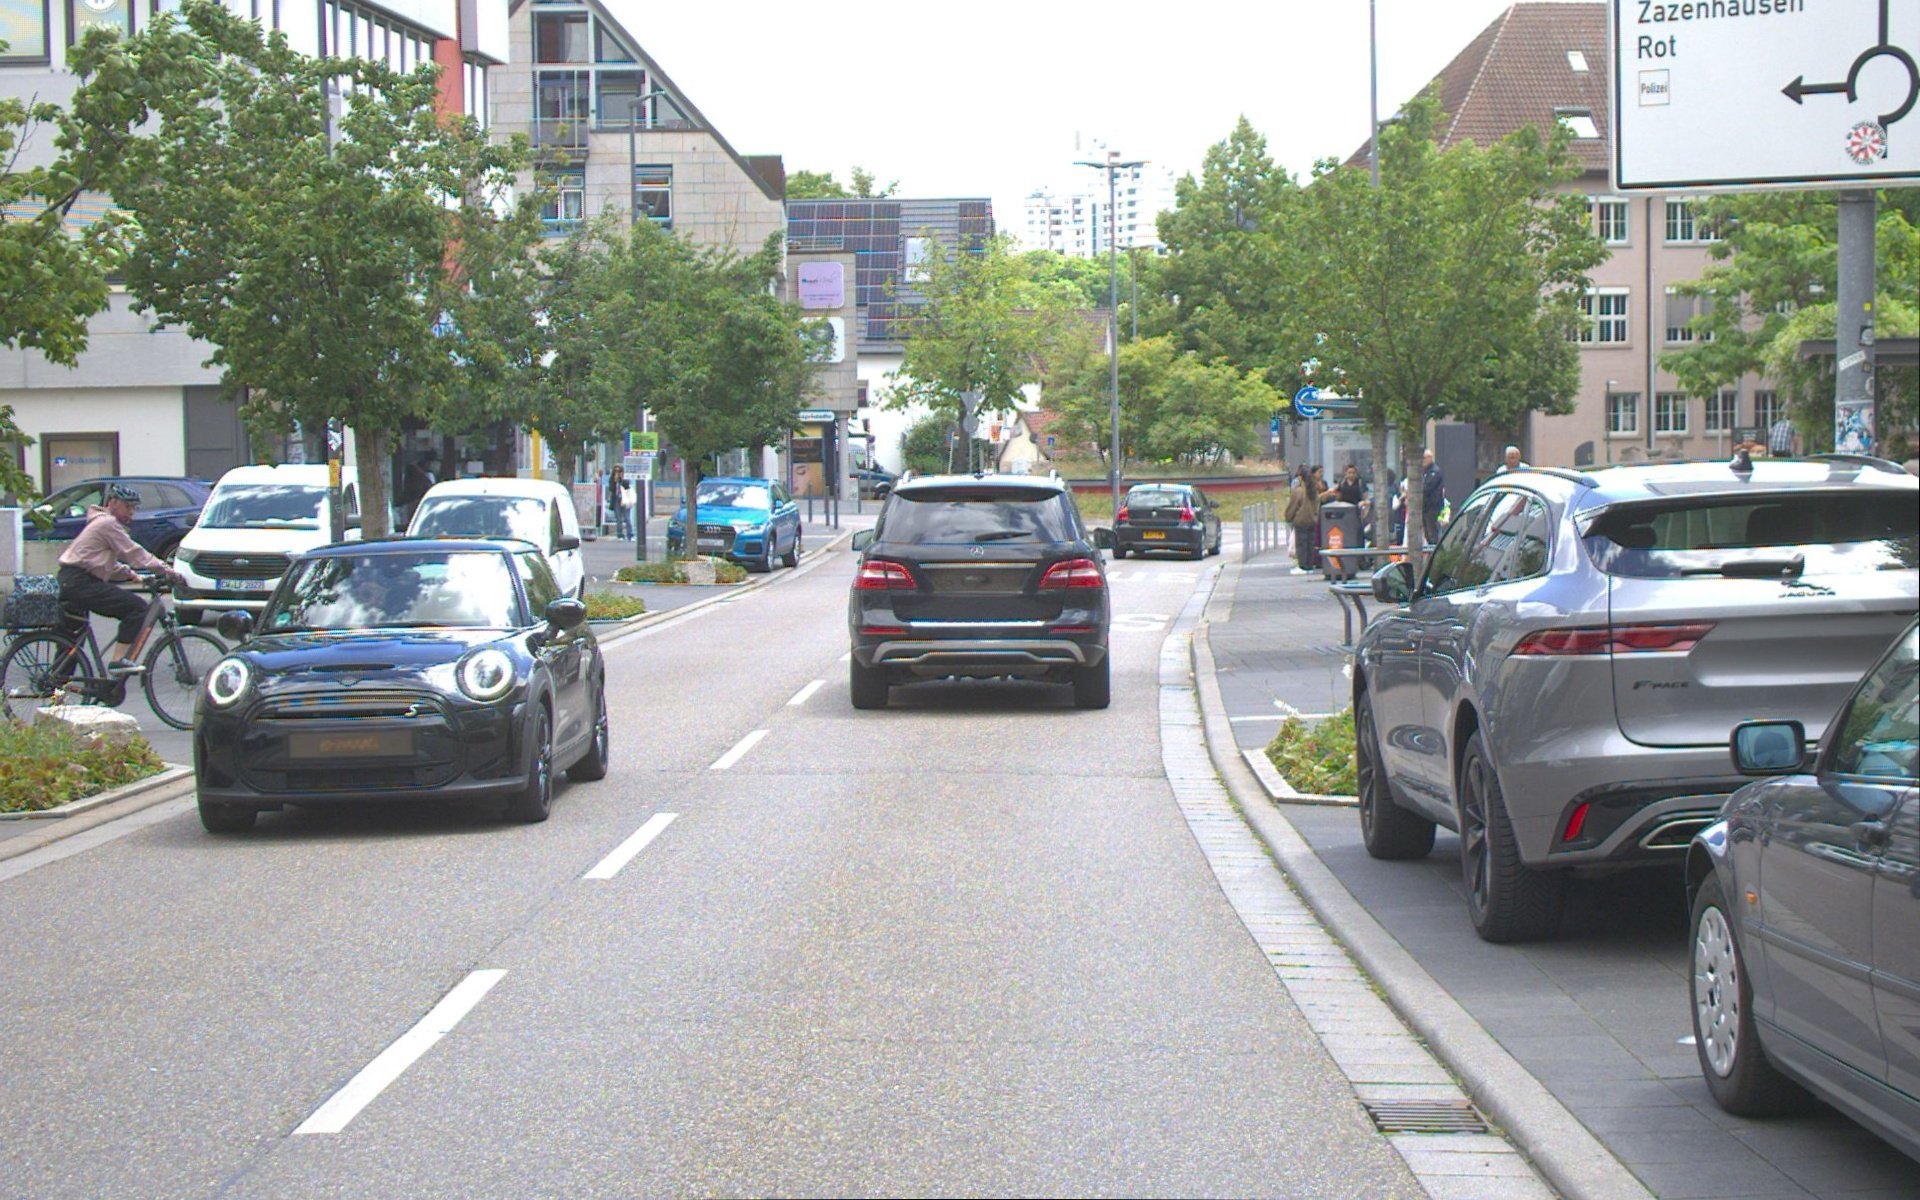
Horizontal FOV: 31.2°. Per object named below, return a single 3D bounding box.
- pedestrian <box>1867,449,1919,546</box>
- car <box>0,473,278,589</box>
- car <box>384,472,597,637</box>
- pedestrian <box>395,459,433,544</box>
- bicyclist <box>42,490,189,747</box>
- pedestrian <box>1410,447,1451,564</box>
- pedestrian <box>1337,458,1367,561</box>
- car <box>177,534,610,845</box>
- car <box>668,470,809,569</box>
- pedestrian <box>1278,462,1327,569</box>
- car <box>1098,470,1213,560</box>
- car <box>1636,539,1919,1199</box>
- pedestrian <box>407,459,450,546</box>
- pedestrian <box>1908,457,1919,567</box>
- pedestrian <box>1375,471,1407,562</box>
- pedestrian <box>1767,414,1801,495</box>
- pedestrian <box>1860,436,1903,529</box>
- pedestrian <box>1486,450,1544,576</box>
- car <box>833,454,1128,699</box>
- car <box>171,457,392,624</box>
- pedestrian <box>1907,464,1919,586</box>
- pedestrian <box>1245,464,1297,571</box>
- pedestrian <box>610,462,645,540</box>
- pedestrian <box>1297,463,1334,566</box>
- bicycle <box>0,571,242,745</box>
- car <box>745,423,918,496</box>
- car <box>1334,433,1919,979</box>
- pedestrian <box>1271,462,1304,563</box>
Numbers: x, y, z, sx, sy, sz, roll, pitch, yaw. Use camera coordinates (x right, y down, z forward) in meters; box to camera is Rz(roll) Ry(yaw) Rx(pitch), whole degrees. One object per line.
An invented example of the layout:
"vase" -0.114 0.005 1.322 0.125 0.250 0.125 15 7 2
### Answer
"pedestrian" 12.395 -1.347 44.994 0.770 1.264 0.675 2 3 42
"car" -11.328 -0.960 47.253 3.627 1.553 1.669 0 2 -2
"car" -5.017 -0.547 37.235 1.656 1.666 4.351 1 2 1
"pedestrian" -10.130 -1.829 63.834 0.510 1.561 0.586 -2 2 5
"bicyclist" -5.743 0.115 23.380 0.775 1.689 0.510 -3 2 -35
"pedestrian" 6.832 -1.375 49.957 0.511 1.674 0.576 -1 2 4
"pedestrian" 5.996 -1.380 52.575 0.393 1.560 0.352 -1 2 9
"car" -2.850 0.386 18.002 1.606 1.383 3.629 -2 1 0
"car" -3.859 -1.452 60.555 1.695 1.594 4.331 2 3 7
"pedestrian" 4.988 -1.233 50.059 0.513 1.544 0.486 0 3 31
"car" 3.784 -1.659 65.813 2.053 1.582 4.373 2 3 4
"car" 2.623 0.579 6.994 1.681 1.412 4.371 -1 0 1
"pedestrian" -9.761 -1.795 63.178 0.584 1.561 0.645 -3 2 -23
"pedestrian" 11.677 -1.060 41.007 0.624 1.303 0.546 -1 3 8
"pedestrian" 6.274 -1.215 50.038 0.389 1.301 0.355 -3 2 6
"pedestrian" 15.478 -2.731 64.580 0.502 1.503 0.454 -1 3 -4
"pedestrian" 13.117 -1.678 48.936 0.568 1.319 0.545 1 3 14
"pedestrian" 7.497 -1.181 46.414 0.685 1.676 0.714 0 2 15
"car" 0.067 -0.182 26.600 2.027 1.721 4.434 0 0 -3
"car" -7.816 -0.737 39.966 1.756 1.807 4.477 1 2 -1
"pedestrian" 10.381 -0.806 36.486 0.568 1.257 0.541 -1 4 9
"pedestrian" 4.575 -1.212 50.566 0.485 1.544 0.544 -4 3 -41
"pedestrian" -6.833 -2.039 70.685 0.587 1.582 0.638 1 2 6
"pedestrian" 5.439 -1.310 52.583 0.500 1.560 0.497 -1 2 10
"bicycle" -5.748 0.378 23.343 1.649 1.083 0.413 -3 2 -36
"car" -4.941 -5.371 132.026 6.283 2.551 2.207 1 0 -17
"car" 2.677 0.265 13.222 1.928 1.718 4.574 -1 2 0
"pedestrian" 5.325 -1.424 55.895 0.387 1.614 0.469 -2 2 16
